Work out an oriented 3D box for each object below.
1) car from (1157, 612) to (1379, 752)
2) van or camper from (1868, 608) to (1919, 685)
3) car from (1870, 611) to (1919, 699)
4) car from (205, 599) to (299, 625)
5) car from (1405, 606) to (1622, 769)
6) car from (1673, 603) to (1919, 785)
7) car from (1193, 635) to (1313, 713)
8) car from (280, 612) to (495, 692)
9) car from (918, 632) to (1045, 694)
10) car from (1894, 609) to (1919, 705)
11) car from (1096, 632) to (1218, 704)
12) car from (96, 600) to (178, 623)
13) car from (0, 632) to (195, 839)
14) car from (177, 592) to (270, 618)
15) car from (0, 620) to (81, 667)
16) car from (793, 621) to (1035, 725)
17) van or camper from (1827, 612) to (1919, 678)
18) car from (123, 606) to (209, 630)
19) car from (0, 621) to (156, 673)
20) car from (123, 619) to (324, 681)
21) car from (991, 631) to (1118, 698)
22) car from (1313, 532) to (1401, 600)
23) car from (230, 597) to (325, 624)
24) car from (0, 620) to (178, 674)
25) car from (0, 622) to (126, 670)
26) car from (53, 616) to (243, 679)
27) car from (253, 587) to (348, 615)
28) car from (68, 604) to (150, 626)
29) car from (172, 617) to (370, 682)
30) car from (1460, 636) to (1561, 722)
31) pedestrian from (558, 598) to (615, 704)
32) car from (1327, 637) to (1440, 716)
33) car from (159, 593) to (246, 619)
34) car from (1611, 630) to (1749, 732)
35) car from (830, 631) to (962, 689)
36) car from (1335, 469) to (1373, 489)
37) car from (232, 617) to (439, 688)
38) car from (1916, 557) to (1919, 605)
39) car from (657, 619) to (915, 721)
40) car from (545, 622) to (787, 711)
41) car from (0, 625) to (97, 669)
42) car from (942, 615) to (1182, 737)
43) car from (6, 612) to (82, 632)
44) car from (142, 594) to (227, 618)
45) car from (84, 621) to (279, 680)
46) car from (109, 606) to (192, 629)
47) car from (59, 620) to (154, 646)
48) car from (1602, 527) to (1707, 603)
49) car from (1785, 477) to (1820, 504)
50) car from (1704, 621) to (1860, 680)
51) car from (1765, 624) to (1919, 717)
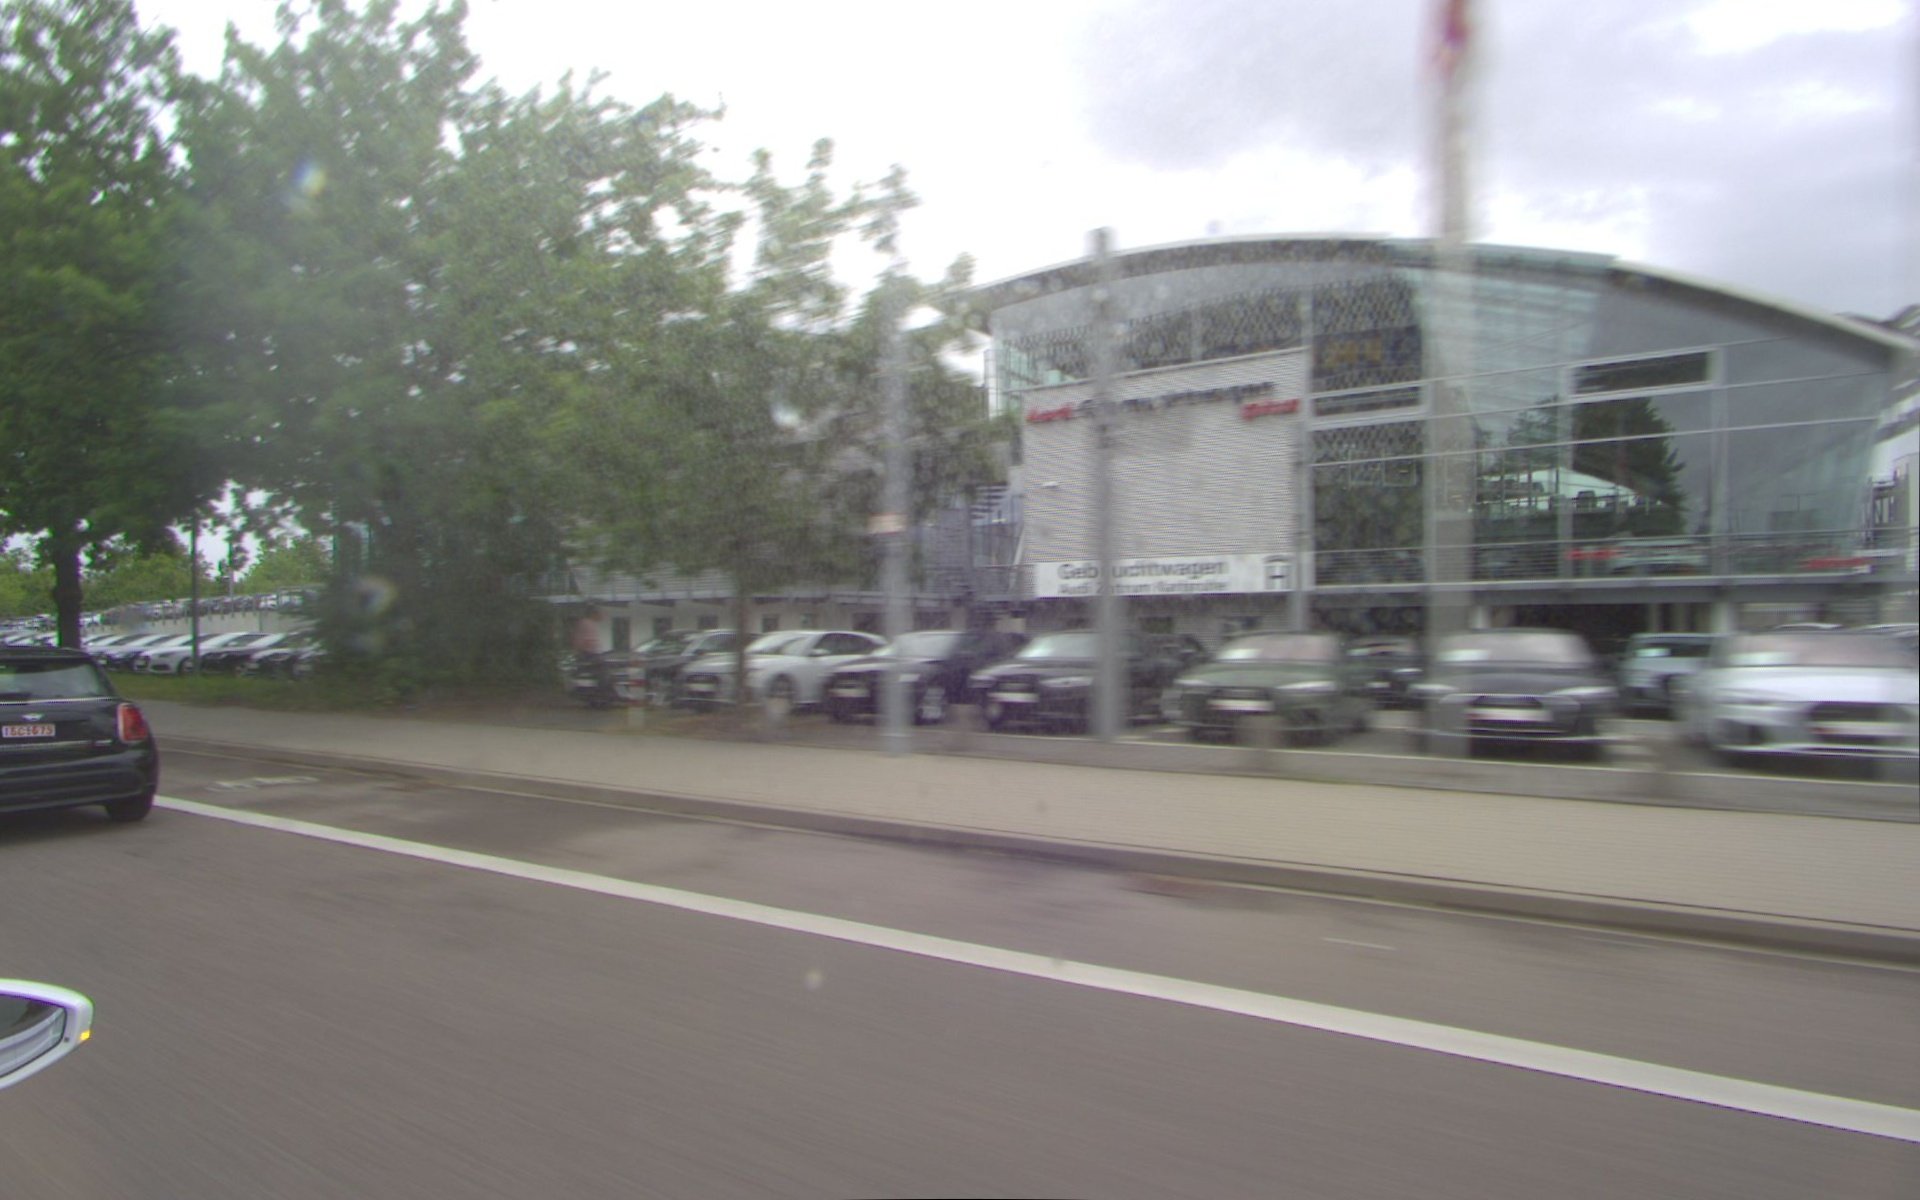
[{"bbox_3d":[4.172,1.019,13.068,1.880,1.504,4.175,-1,-4,30],"label":"car"},{"bbox_3d":[24.750,1.172,24.111,3.941,1.839,1.839,1,0,31],"label":"van or camper"},{"bbox_3d":[23.663,1.204,22.280,4.749,1.965,1.990,-1,-1,32],"label":"car"},{"bbox_3d":[-43.863,0.781,62.144,1.940,1.516,4.331,1,-1,30],"label":"car"},{"bbox_3d":[6.433,0.953,11.565,1.844,1.504,4.214,-1,-4,31],"label":"car"},{"bbox_3d":[8.635,0.905,10.248,1.850,1.504,4.028,-1,-4,31],"label":"car"},{"bbox_3d":[6.992,1.706,23.664,1.789,1.600,3.953,1,-2,30],"label":"car"},{"bbox_3d":[-14.234,1.362,25.156,1.847,1.621,4.239,1,-6,30],"label":"car"},{"bbox_3d":[0.686,1.703,28.165,1.789,1.564,4.097,1,-1,30],"label":"car"},{"bbox_3d":[22.281,1.143,20.158,4.749,1.965,1.990,-1,-1,32],"label":"car"},{"bbox_3d":[5.034,1.676,25.179,1.789,1.600,3.953,1,-2,30],"label":"car"},{"bbox_3d":[-57.172,0.807,69.624,1.704,1.454,4.082,1,-1,30],"label":"car"},{"bbox_3d":[-8.055,0.978,8.068,3.590,1.433,1.784,-1,-3,31],"label":"car"},{"bbox_3d":[-46.298,0.324,63.018,1.853,1.516,4.331,1,-1,30],"label":"car"},{"bbox_3d":[-38.404,1.653,39.923,1.971,1.722,4.549,1,-6,32],"label":"car"},{"bbox_3d":[-0.573,1.130,15.898,1.874,1.408,4.151,-1,-4,31],"label":"car"},{"bbox_3d":[26.350,1.242,27.183,3.941,1.734,1.839,1,0,31],"label":"van or camper"},{"bbox_3d":[-53.050,1.216,66.960,1.917,1.454,4.082,1,-1,30],"label":"car"},{"bbox_3d":[-32.034,1.709,36.007,1.971,1.538,4.393,1,-6,32],"label":"car"},{"bbox_3d":[-21.243,1.488,29.059,1.929,1.503,4.196,1,-5,30],"label":"car"},{"bbox_3d":[2.596,1.645,26.573,1.789,1.564,4.097,1,-1,30],"label":"car"},{"bbox_3d":[11.384,-0.916,28.553,1.797,1.683,3.983,1,-1,29],"label":"car"},{"bbox_3d":[-41.448,0.664,60.928,2.038,1.516,4.331,1,-1,30],"label":"car"},{"bbox_3d":[-29.922,1.655,34.528,1.971,1.486,4.175,1,-6,32],"label":"car"},{"bbox_3d":[-34.195,1.707,37.339,2.000,1.522,4.292,0,-6,32],"label":"car"},{"bbox_3d":[-25.497,1.542,31.595,1.971,1.682,4.174,1,-5,32],"label":"car"},{"bbox_3d":[-39.125,0.087,59.509,1.853,1.516,4.331,1,-1,30],"label":"car"},{"bbox_3d":[-61.458,1.098,72.400,1.704,1.454,4.195,1,-1,30],"label":"car"},{"bbox_3d":[-19.002,1.423,27.805,1.791,1.503,4.064,1,-5,30],"label":"car"},{"bbox_3d":[11.758,1.593,21.310,1.702,1.563,3.982,1,-1,31],"label":"car"},{"bbox_3d":[-6.851,0.936,18.385,0.709,1.894,0.670,-1,-2,30],"label":"pedestrian"},{"bbox_3d":[9.530,1.623,22.337,1.789,1.505,4.097,1,-1,30],"label":"car"},{"bbox_3d":[-48.565,0.411,64.287,1.704,1.516,4.082,1,-1,30],"label":"car"},{"bbox_3d":[14.093,1.485,19.816,1.783,1.718,4.299,1,-1,31],"label":"car"},{"bbox_3d":[-1.783,1.679,29.234,1.714,1.505,4.334,1,-1,30],"label":"car"},{"bbox_3d":[45.950,-14.097,116.900,1.968,1.689,3.986,0,0,-23],"label":"car"},{"bbox_3d":[-16.456,1.436,26.620,1.798,1.503,4.210,1,-6,30],"label":"car"},{"bbox_3d":[37.242,-0.776,36.933,1.970,1.873,3.982,1,-1,31],"label":"car"},{"bbox_3d":[-2.807,1.175,17.336,1.820,1.490,4.646,0,-3,30],"label":"car"},{"bbox_3d":[-5.298,1.205,18.604,1.828,1.438,4.201,0,-3,30],"label":"car"},{"bbox_3d":[-36.260,1.759,38.515,1.931,1.462,4.175,1,-6,32],"label":"car"},{"bbox_3d":[1.662,1.074,14.639,1.866,1.488,4.363,-1,-4,30],"label":"car"},{"bbox_3d":[-71.793,1.750,78.561,1.704,1.454,4.082,1,-1,30],"label":"car"},{"bbox_3d":[-50.778,0.418,65.654,1.704,1.454,4.082,1,-1,30],"label":"car"},{"bbox_3d":[-23.434,1.560,30.306,1.948,1.503,4.181,1,-5,31],"label":"car"},{"bbox_3d":[-55.013,1.191,68.113,1.704,1.454,4.082,1,-1,30],"label":"car"},{"bbox_3d":[-51.987,1.998,61.082,1.704,1.454,4.082,1,-1,30],"label":"car"},{"bbox_3d":[17.673,-0.834,25.651,1.797,1.683,3.983,1,-1,29],"label":"car"},{"bbox_3d":[81.714,-10.596,97.170,1.970,1.906,3.983,-1,-2,30],"label":"car"},{"bbox_3d":[28.755,1.738,35.203,3.938,1.862,1.753,1,0,29],"label":"car"},{"bbox_3d":[16.600,1.313,18.671,1.900,1.504,4.246,1,-3,31],"label":"car"}]
